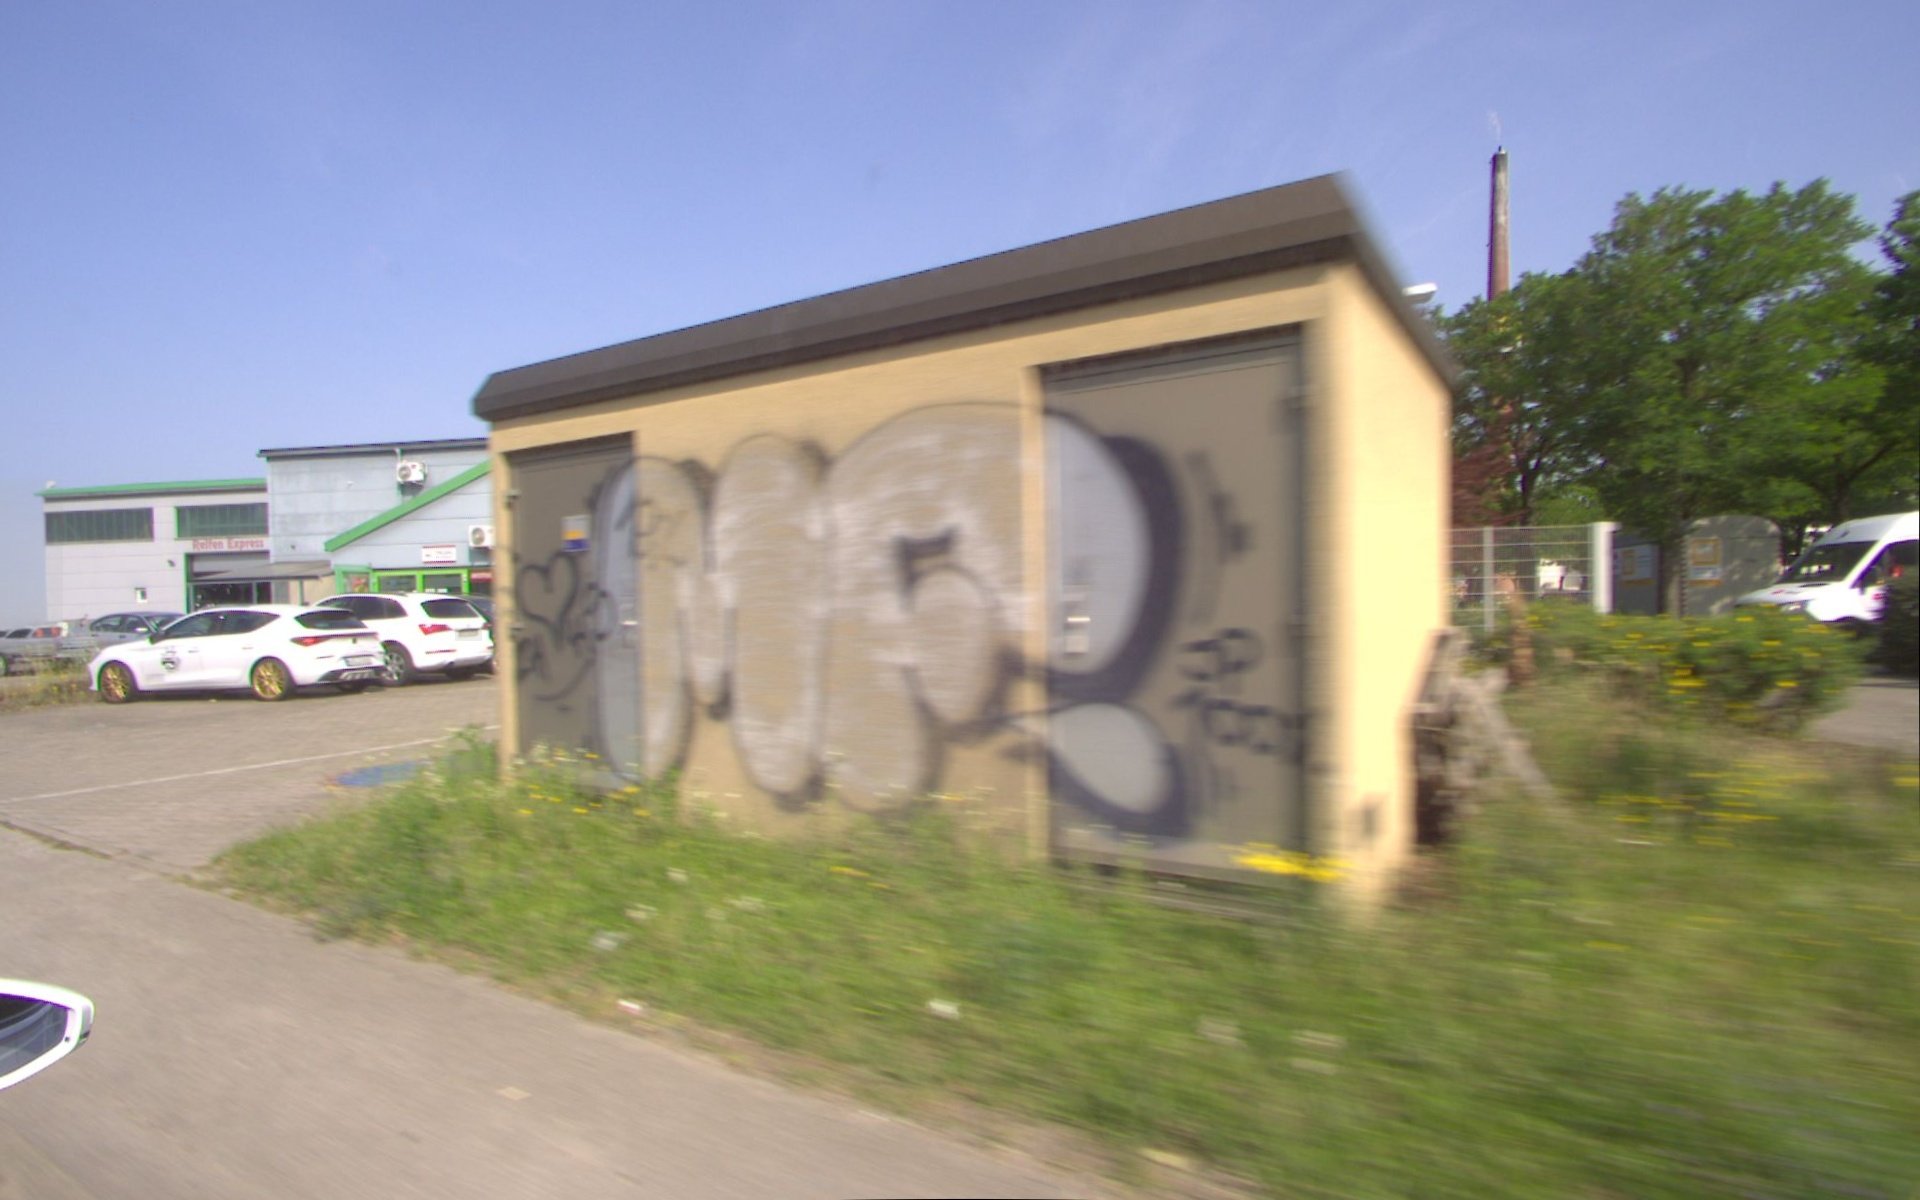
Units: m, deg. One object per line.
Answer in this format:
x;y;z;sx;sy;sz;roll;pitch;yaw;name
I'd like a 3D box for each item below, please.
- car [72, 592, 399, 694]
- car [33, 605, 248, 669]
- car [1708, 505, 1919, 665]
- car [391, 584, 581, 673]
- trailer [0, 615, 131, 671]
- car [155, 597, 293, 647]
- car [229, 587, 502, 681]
-11.398;0.662;15.884;4.180;1.486;1.692;-1;1;9;car
-20.589;0.927;25.234;4.375;1.486;1.643;-1;1;9;car
17.533;-0.302;17.634;6.760;2.644;2.219;-1;1;7;car
-9.825;0.574;20.872;3.152;1.743;1.643;-1;1;9;car
-21.538;0.991;23.583;2.919;1.264;1.495;0;0;7;trailer
-24.850;0.719;33.850;3.734;1.589;1.637;-1;1;11;car
-10.719;0.590;18.195;4.054;1.593;1.719;-1;1;9;car
